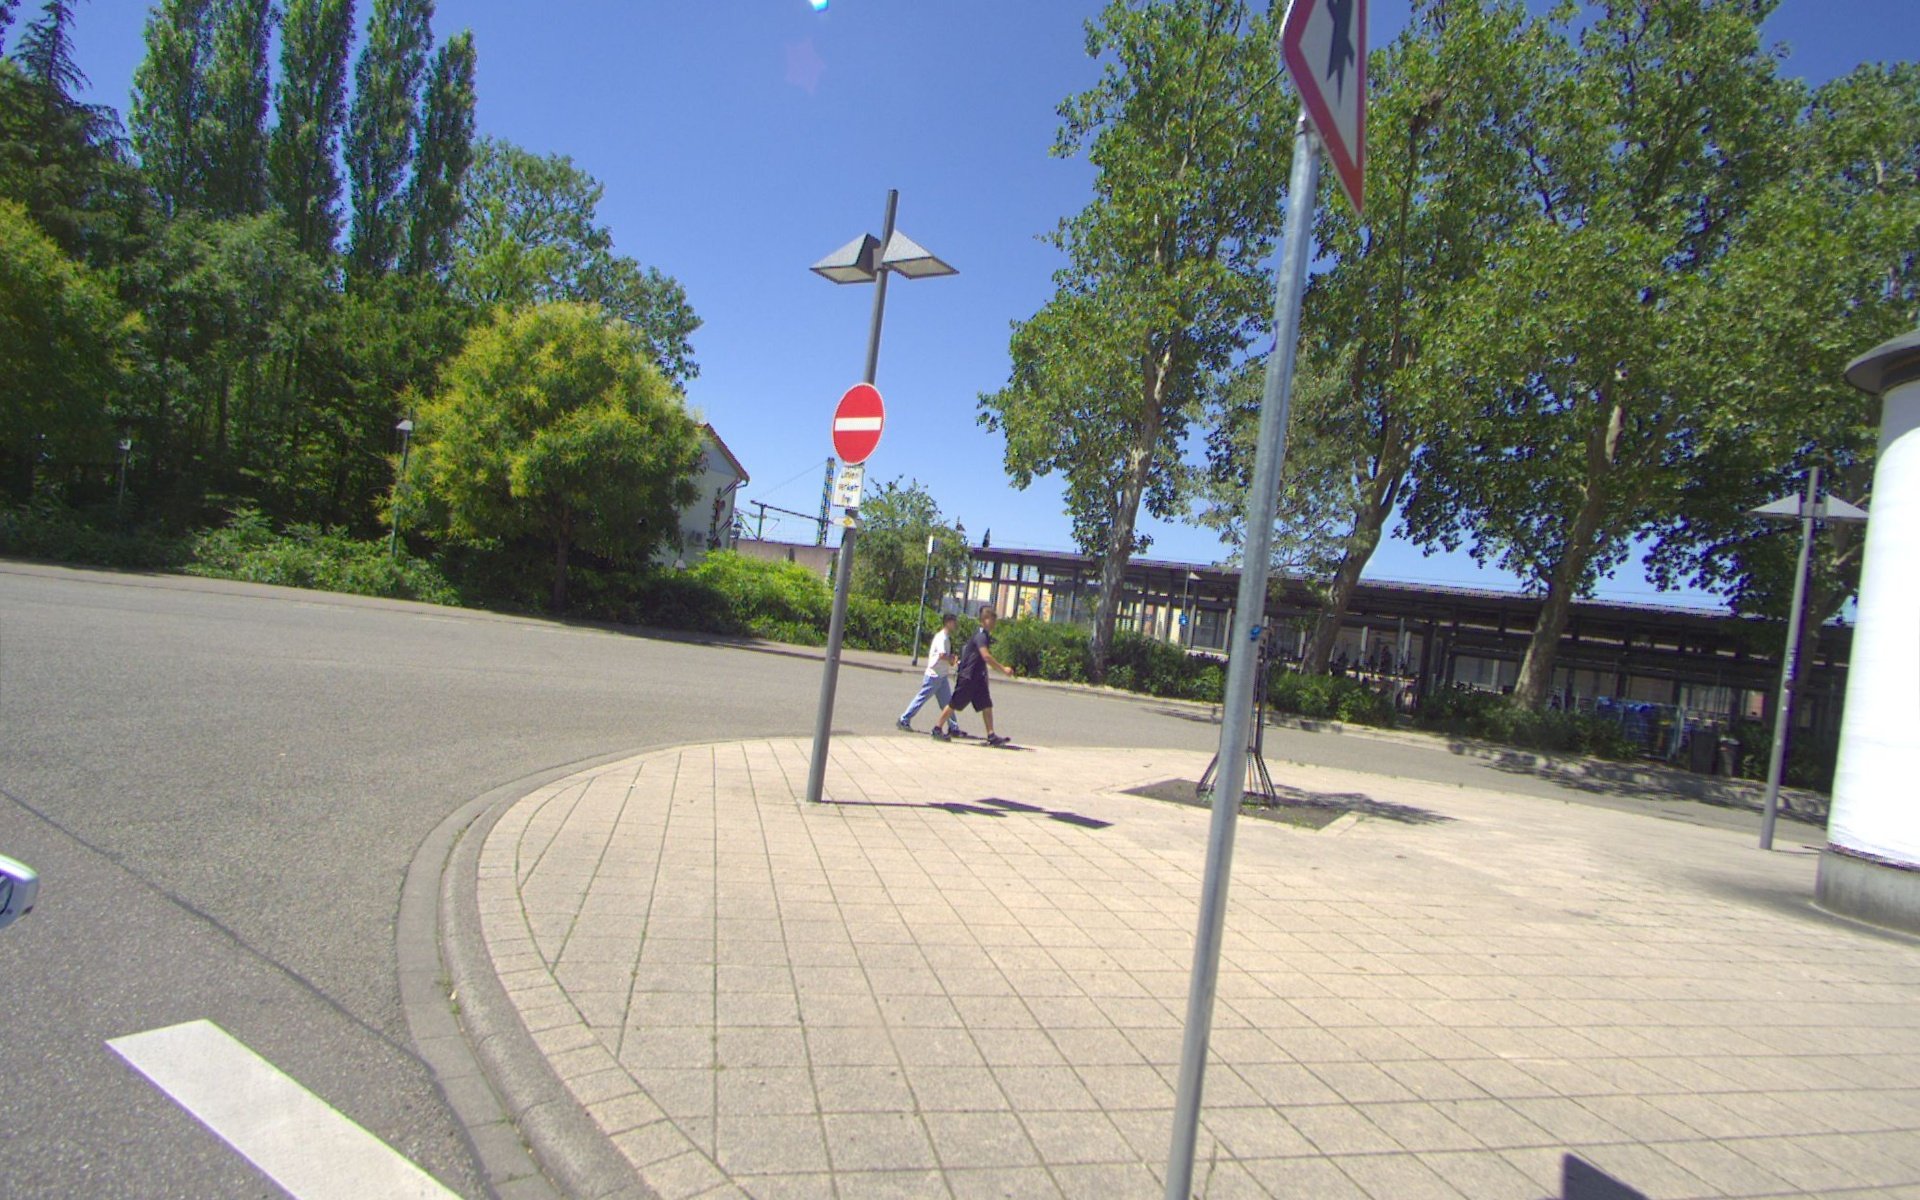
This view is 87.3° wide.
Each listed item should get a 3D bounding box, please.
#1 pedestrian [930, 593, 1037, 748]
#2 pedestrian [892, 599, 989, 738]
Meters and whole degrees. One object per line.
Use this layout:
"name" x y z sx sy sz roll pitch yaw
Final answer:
"pedestrian" 0.300 0.879 12.638 0.901 1.807 0.692 7 0 39
"pedestrian" -0.269 0.939 13.798 0.901 1.757 0.673 7 0 39
